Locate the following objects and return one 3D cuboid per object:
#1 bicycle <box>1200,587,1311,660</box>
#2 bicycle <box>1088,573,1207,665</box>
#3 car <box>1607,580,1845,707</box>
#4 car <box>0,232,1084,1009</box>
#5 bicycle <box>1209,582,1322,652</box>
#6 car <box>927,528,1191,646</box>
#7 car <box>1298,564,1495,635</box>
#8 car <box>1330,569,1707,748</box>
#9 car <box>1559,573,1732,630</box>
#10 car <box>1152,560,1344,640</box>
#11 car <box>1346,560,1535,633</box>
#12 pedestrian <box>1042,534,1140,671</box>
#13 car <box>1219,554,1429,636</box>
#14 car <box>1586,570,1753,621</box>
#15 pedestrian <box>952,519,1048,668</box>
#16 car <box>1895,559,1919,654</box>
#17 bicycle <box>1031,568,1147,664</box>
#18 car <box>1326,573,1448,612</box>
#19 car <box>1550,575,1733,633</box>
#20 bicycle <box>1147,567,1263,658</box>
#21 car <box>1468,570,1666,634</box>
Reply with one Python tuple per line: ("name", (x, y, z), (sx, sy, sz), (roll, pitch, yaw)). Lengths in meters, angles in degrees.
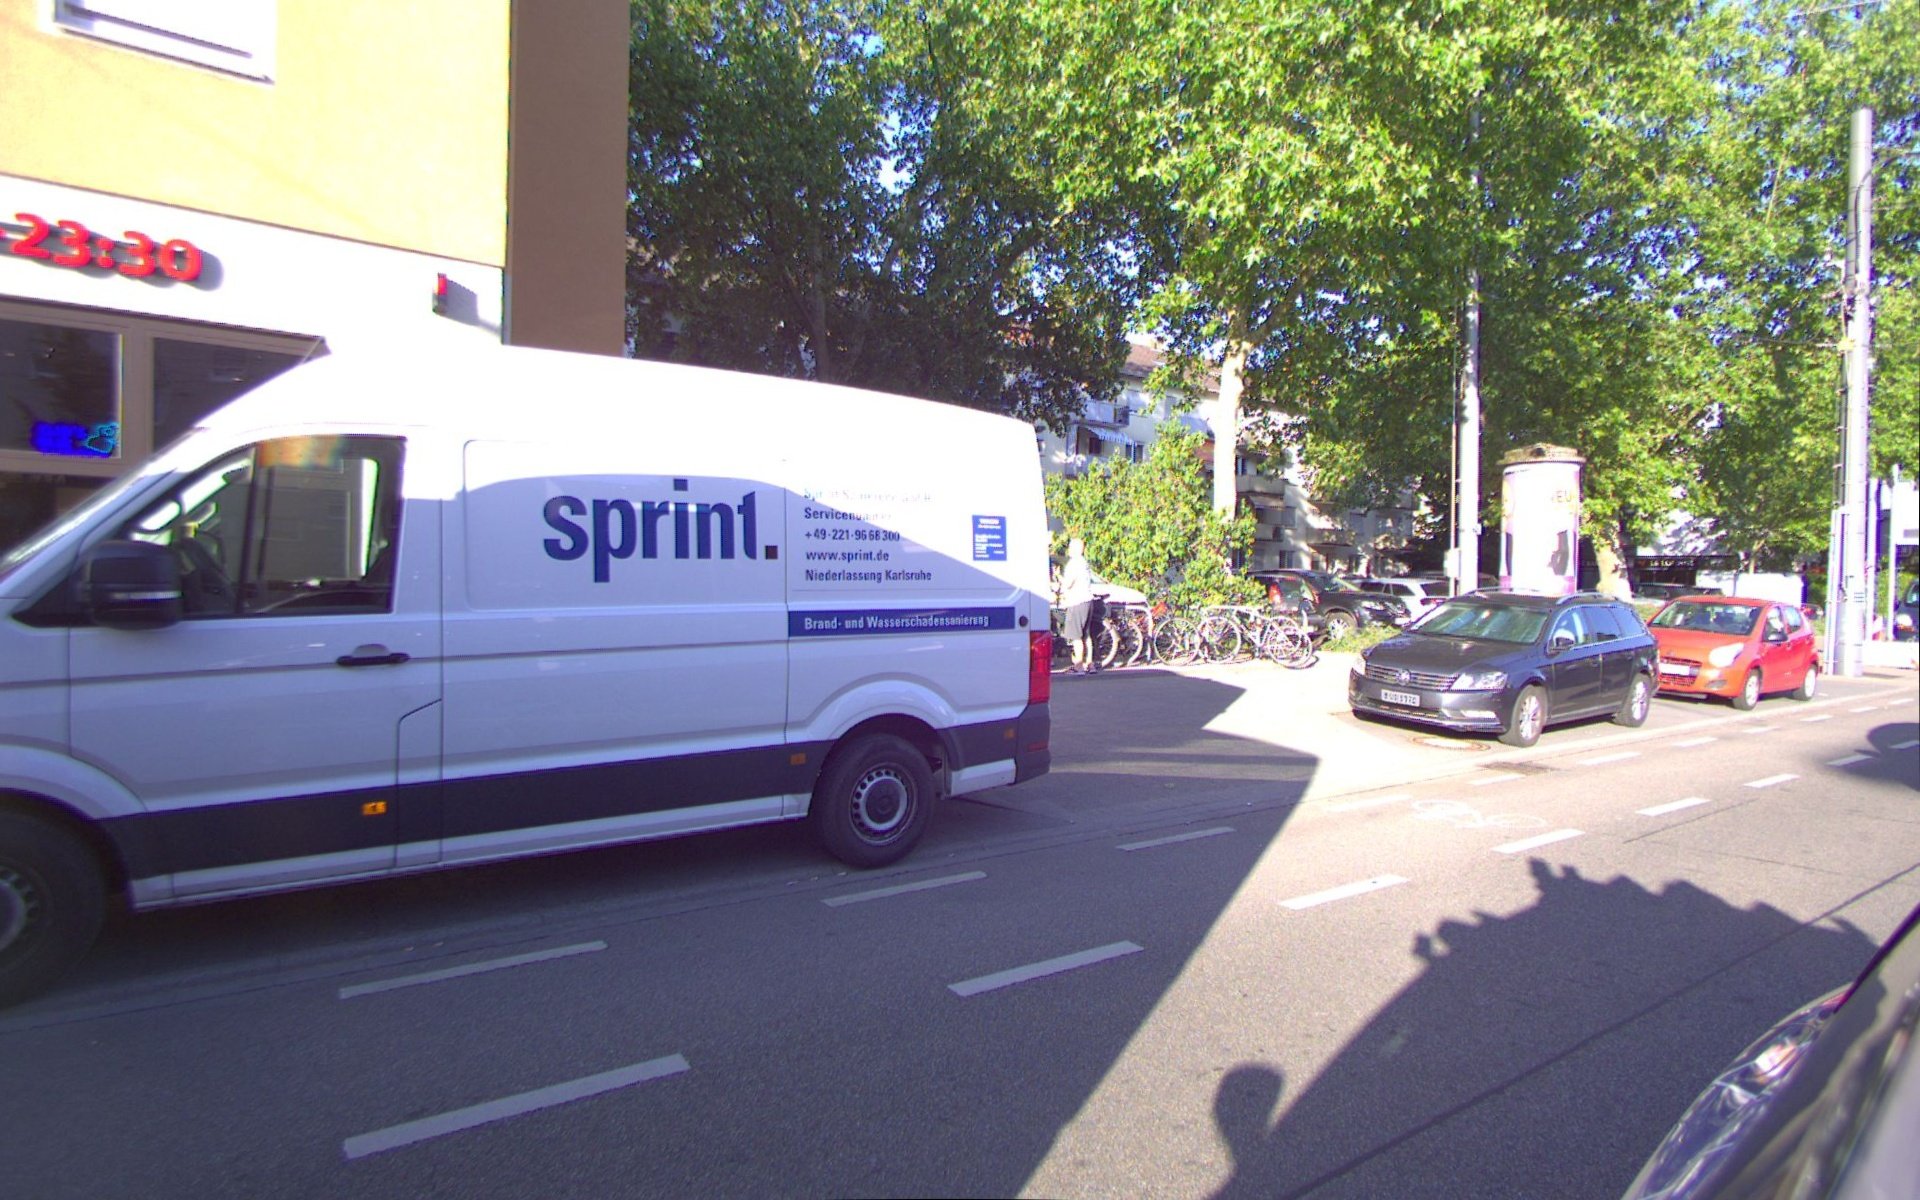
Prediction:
("bicycle", (4.496, 0.344, 15.420), (1.562, 1.026, 0.647), (2, 1, 19))
("bicycle", (2.628, 0.258, 14.152), (1.562, 1.242, 0.647), (-1, 0, 19))
("car", (10.941, 0.532, 14.409), (3.556, 1.512, 1.576), (0, 4, -34))
("car", (-2.237, 0.001, 5.218), (5.673, 2.581, 2.026), (0, 5, -34))
("bicycle", (4.825, 0.246, 16.042), (1.658, 1.026, 0.647), (2, 1, 19))
("car", (1.522, -0.146, 17.339), (1.962, 1.731, 4.632), (0, -1, -35))
("car", (10.075, 0.022, 23.629), (1.820, 1.514, 3.853), (0, -1, -33))
("car", (6.278, 0.509, 11.194), (4.563, 1.549, 1.704), (0, 4, -34))
("car", (21.471, -0.007, 31.851), (1.767, 1.619, 4.128), (0, 2, -33))
("car", (5.887, 0.035, 20.986), (1.740, 1.502, 3.508), (0, -1, -35))
("car", (11.779, -0.074, 25.035), (1.820, 1.652, 3.854), (0, 0, -33))
("pedestrian", (1.669, 0.019, 12.903), (0.973, 1.656, 0.660), (1, 4, -42))
("car", (7.896, -0.062, 22.261), (1.821, 1.621, 4.033), (0, -1, -35))
("car", (23.125, -0.112, 33.140), (1.767, 1.570, 4.127), (0, -1, -33))
("pedestrian", (0.491, -0.093, 12.636), (0.753, 1.772, 0.810), (2, 4, -34))
("car", (23.462, 0.160, 23.272), (4.475, 2.104, 1.892), (0, 1, -34))
("bicycle", (1.750, 0.200, 13.744), (1.500, 1.242, 0.401), (2, 1, 17))
("car", (17.778, -0.351, 42.291), (1.963, 1.514, 4.294), (0, 2, -37))
("car", (20.029, 0.064, 29.917), (1.767, 1.513, 4.128), (0, 2, -33))
("bicycle", (3.526, 0.162, 14.675), (1.557, 1.242, 0.646), (1, 1, 10))
("car", (15.971, 0.009, 26.840), (1.767, 1.513, 4.128), (0, 2, -33))
